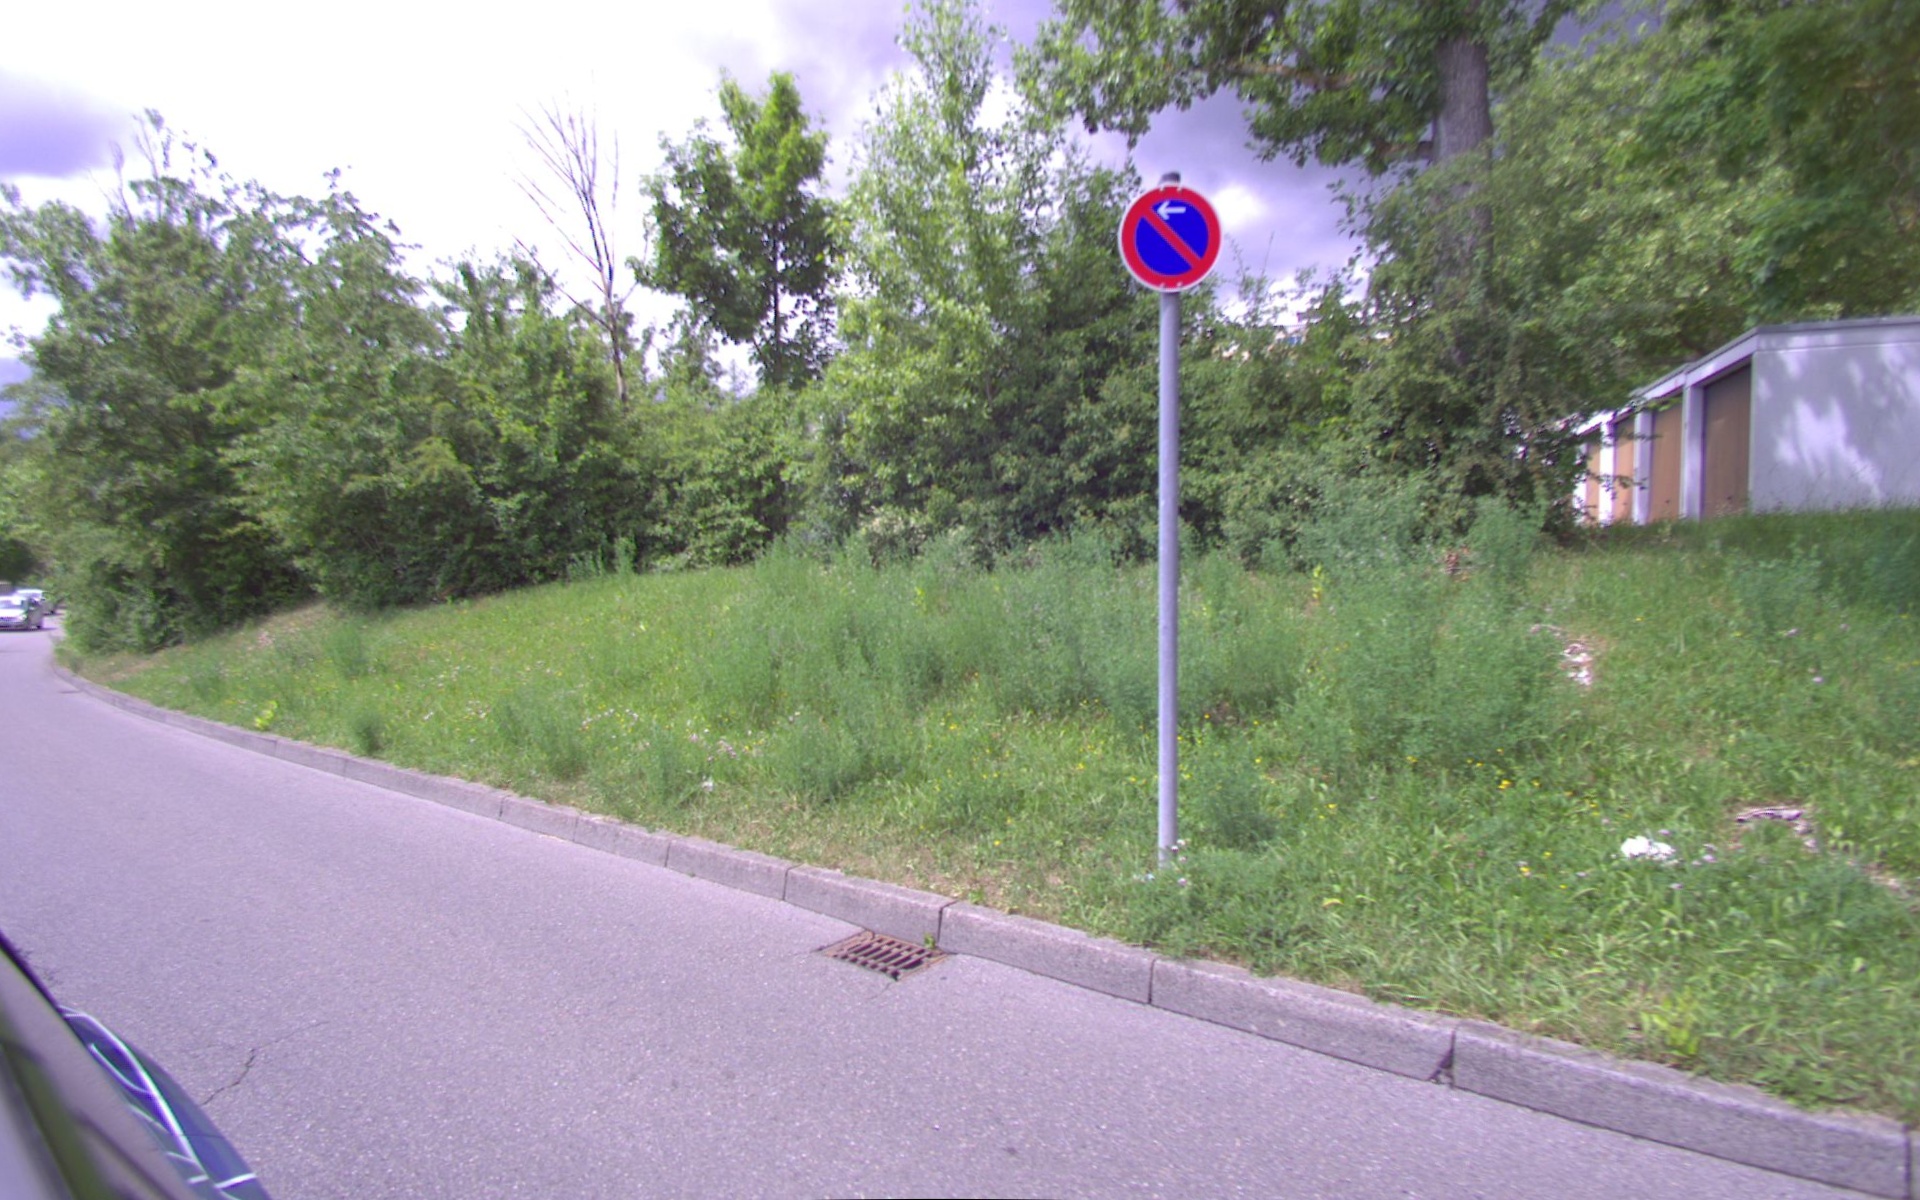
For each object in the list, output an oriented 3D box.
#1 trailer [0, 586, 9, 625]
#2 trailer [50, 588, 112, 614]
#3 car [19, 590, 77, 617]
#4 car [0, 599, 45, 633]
[{"bbox_3d":[-52.928,0.320,54.498,1.706,2.094,3.795,0,2,-31],"label":"trailer"},{"bbox_3d":[-59.574,0.040,68.693,1.784,1.590,4.505,0,2,-22],"label":"trailer"},{"bbox_3d":[-56.101,0.200,62.327,1.682,1.488,3.796,0,2,-26],"label":"car"},{"bbox_3d":[-45.104,0.720,48.092,1.767,1.520,4.124,0,1,-33],"label":"car"}]
